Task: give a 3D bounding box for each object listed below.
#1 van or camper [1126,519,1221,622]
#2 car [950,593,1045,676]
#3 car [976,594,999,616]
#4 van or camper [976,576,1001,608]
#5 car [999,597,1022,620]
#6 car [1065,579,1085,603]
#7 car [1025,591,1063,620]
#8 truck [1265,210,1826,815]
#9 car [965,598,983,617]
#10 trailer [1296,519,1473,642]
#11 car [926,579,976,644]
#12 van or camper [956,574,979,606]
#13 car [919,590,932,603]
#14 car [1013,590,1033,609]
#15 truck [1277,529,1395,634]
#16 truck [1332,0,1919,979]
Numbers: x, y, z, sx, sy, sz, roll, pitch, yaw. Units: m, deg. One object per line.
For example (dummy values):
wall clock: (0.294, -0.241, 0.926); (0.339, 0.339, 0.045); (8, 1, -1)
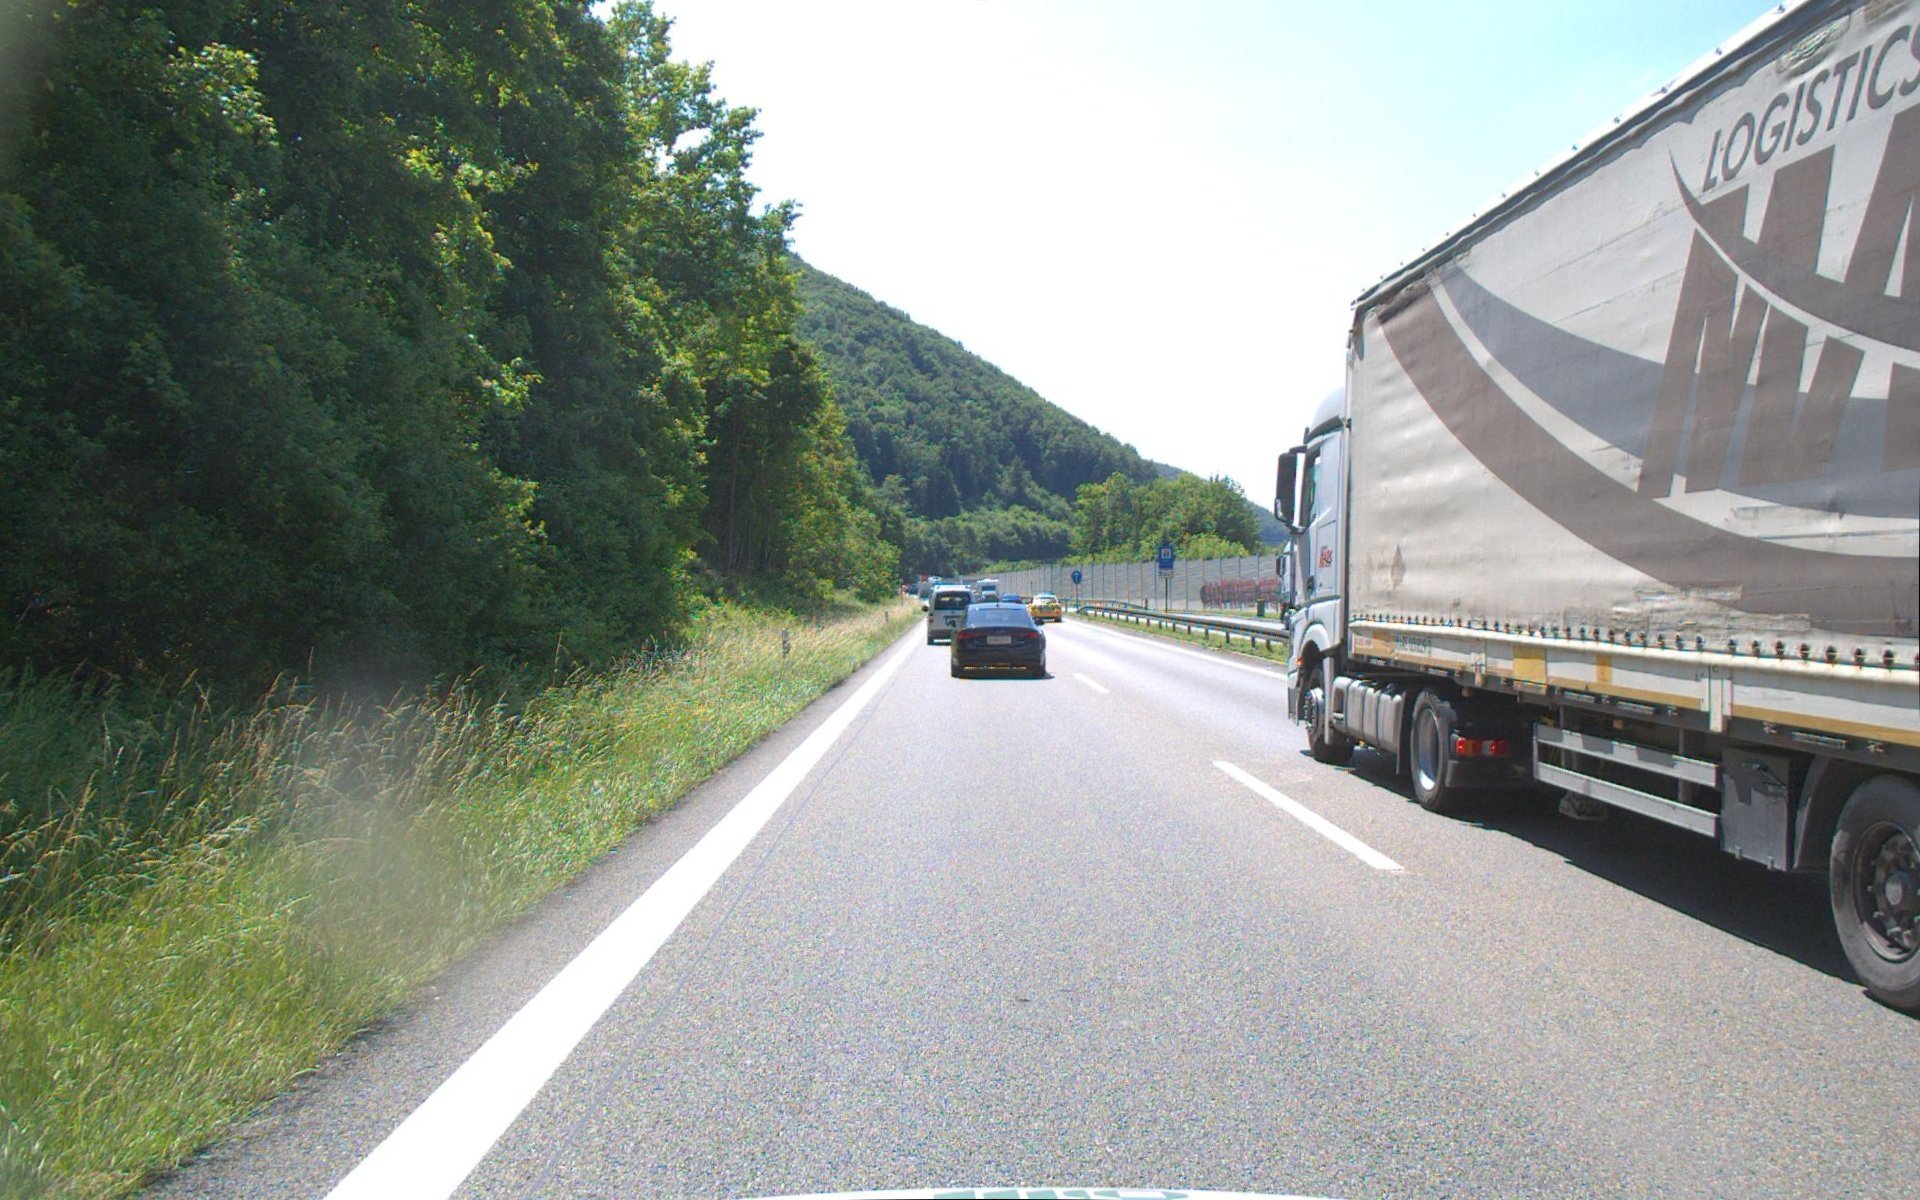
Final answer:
van or camper: (8.677, -1.115, 67.964); (2.739, 3.908, 6.164); (3, -1, -2)
car: (0.707, 0.640, 32.841); (1.775, 1.541, 3.514); (0, 1, 0)
car: (2.673, 0.497, 159.538); (2.044, 2.049, 3.999); (3, -1, -1)
van or camper: (2.957, -0.813, 174.130); (2.380, 3.210, 5.203); (3, -1, 0)
car: (3.669, 0.642, 121.253); (1.499, 1.551, 3.596); (3, -1, 0)
car: (10.241, -0.796, 147.561); (1.544, 2.049, 3.428); (1, 0, 0)
car: (4.595, 0.283, 90.671); (1.840, 1.525, 4.000); (1, 0, 0)
truck: (4.635, -0.582, 14.428); (2.664, 4.139, 5.752); (2, -1, -1)
car: (1.217, 0.701, 145.860); (1.499, 1.551, 3.596); (3, -1, 0)
trailer: (15.054, -0.668, 59.757); (3.342, 3.968, 11.149); (1, 0, -1)
car: (-0.299, 0.378, 54.602); (1.490, 2.002, 3.513); (3, 0, -1)
van or camper: (0.990, -1.323, 220.063); (2.739, 3.975, 6.164); (3, -1, -2)
car: (-4.469, -0.406, 214.422); (1.458, 1.522, 3.589); (3, -1, 0)
car: (7.014, -0.037, 185.701); (1.953, 2.049, 3.999); (1, 0, -2)
truck: (14.935, -0.719, 66.102); (3.342, 3.968, 5.386); (1, 0, -1)
truck: (4.784, -0.655, 7.597); (2.671, 4.139, 13.737); (2, -1, -1)
